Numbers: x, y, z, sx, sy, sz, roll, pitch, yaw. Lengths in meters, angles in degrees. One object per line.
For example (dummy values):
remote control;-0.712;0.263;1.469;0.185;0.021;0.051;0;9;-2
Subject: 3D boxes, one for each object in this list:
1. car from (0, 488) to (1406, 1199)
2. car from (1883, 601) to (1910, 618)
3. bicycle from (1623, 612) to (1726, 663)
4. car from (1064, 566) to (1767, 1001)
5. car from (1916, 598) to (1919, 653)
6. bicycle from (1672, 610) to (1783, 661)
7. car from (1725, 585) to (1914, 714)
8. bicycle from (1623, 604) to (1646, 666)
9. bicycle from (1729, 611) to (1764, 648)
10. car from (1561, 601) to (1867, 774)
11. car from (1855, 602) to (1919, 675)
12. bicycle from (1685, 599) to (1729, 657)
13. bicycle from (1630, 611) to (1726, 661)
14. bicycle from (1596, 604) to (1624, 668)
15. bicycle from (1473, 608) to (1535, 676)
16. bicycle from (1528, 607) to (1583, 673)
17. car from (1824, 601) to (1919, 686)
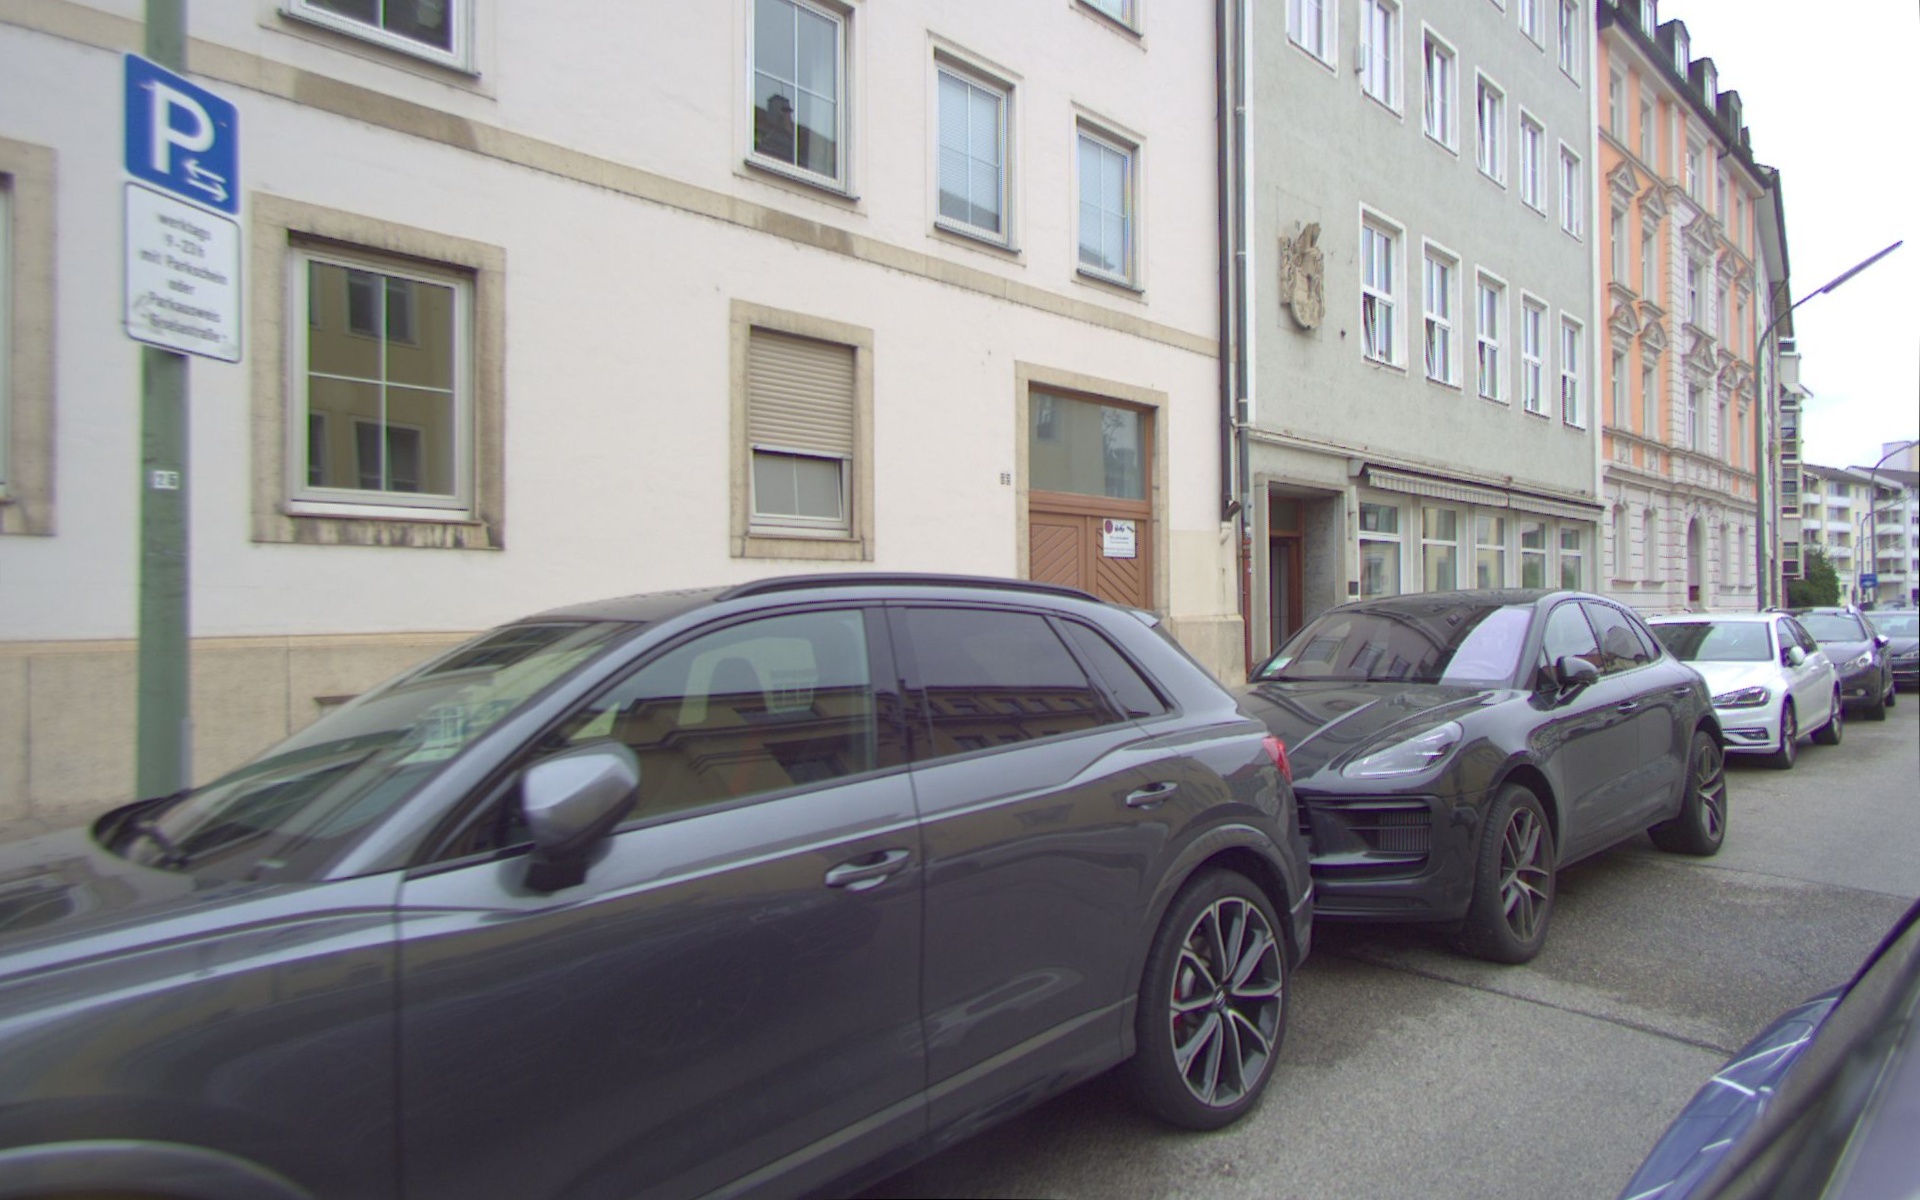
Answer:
car;-0.724;0.700;2.669;4.553;1.610;1.647;0;-3;-41
car;86.869;0.895;93.915;1.749;1.511;3.940;-1;0;41
bicycle;15.738;0.823;22.309;1.816;1.081;0.515;1;0;7
car;2.881;0.657;5.812;4.626;1.541;1.843;0;-1;-40
car;29.169;0.761;29.459;1.679;1.695;3.748;-3;-2;41
bicycle;17.981;0.825;23.741;2.055;1.153;0.583;1;0;6
car;12.658;0.652;14.806;4.290;1.613;1.707;0;-2;-45
bicycle;14.123;0.727;21.195;0.247;1.271;0.902;0;0;43
bicycle;22.993;0.847;29.580;1.788;1.037;0.596;1;0;-45
car;8.127;0.772;10.736;4.451;1.447;1.675;0;-2;-41
car;21.226;0.811;22.480;4.079;1.520;1.687;0;-2;-45
bicycle;18.971;0.694;25.690;0.596;1.402;2.058;0;0;45
bicycle;16.134;0.805;22.748;1.778;1.103;0.623;1;0;-6
bicycle;13.332;0.719;20.744;0.247;1.271;1.214;0;0;43
bicycle;9.878;0.736;18.355;1.916;1.172;0.384;0;0;-42
bicycle;11.481;0.748;19.495;1.784;1.191;0.396;0;-1;-42
car;17.732;0.745;18.947;4.286;1.420;1.690;0;-1;-40
